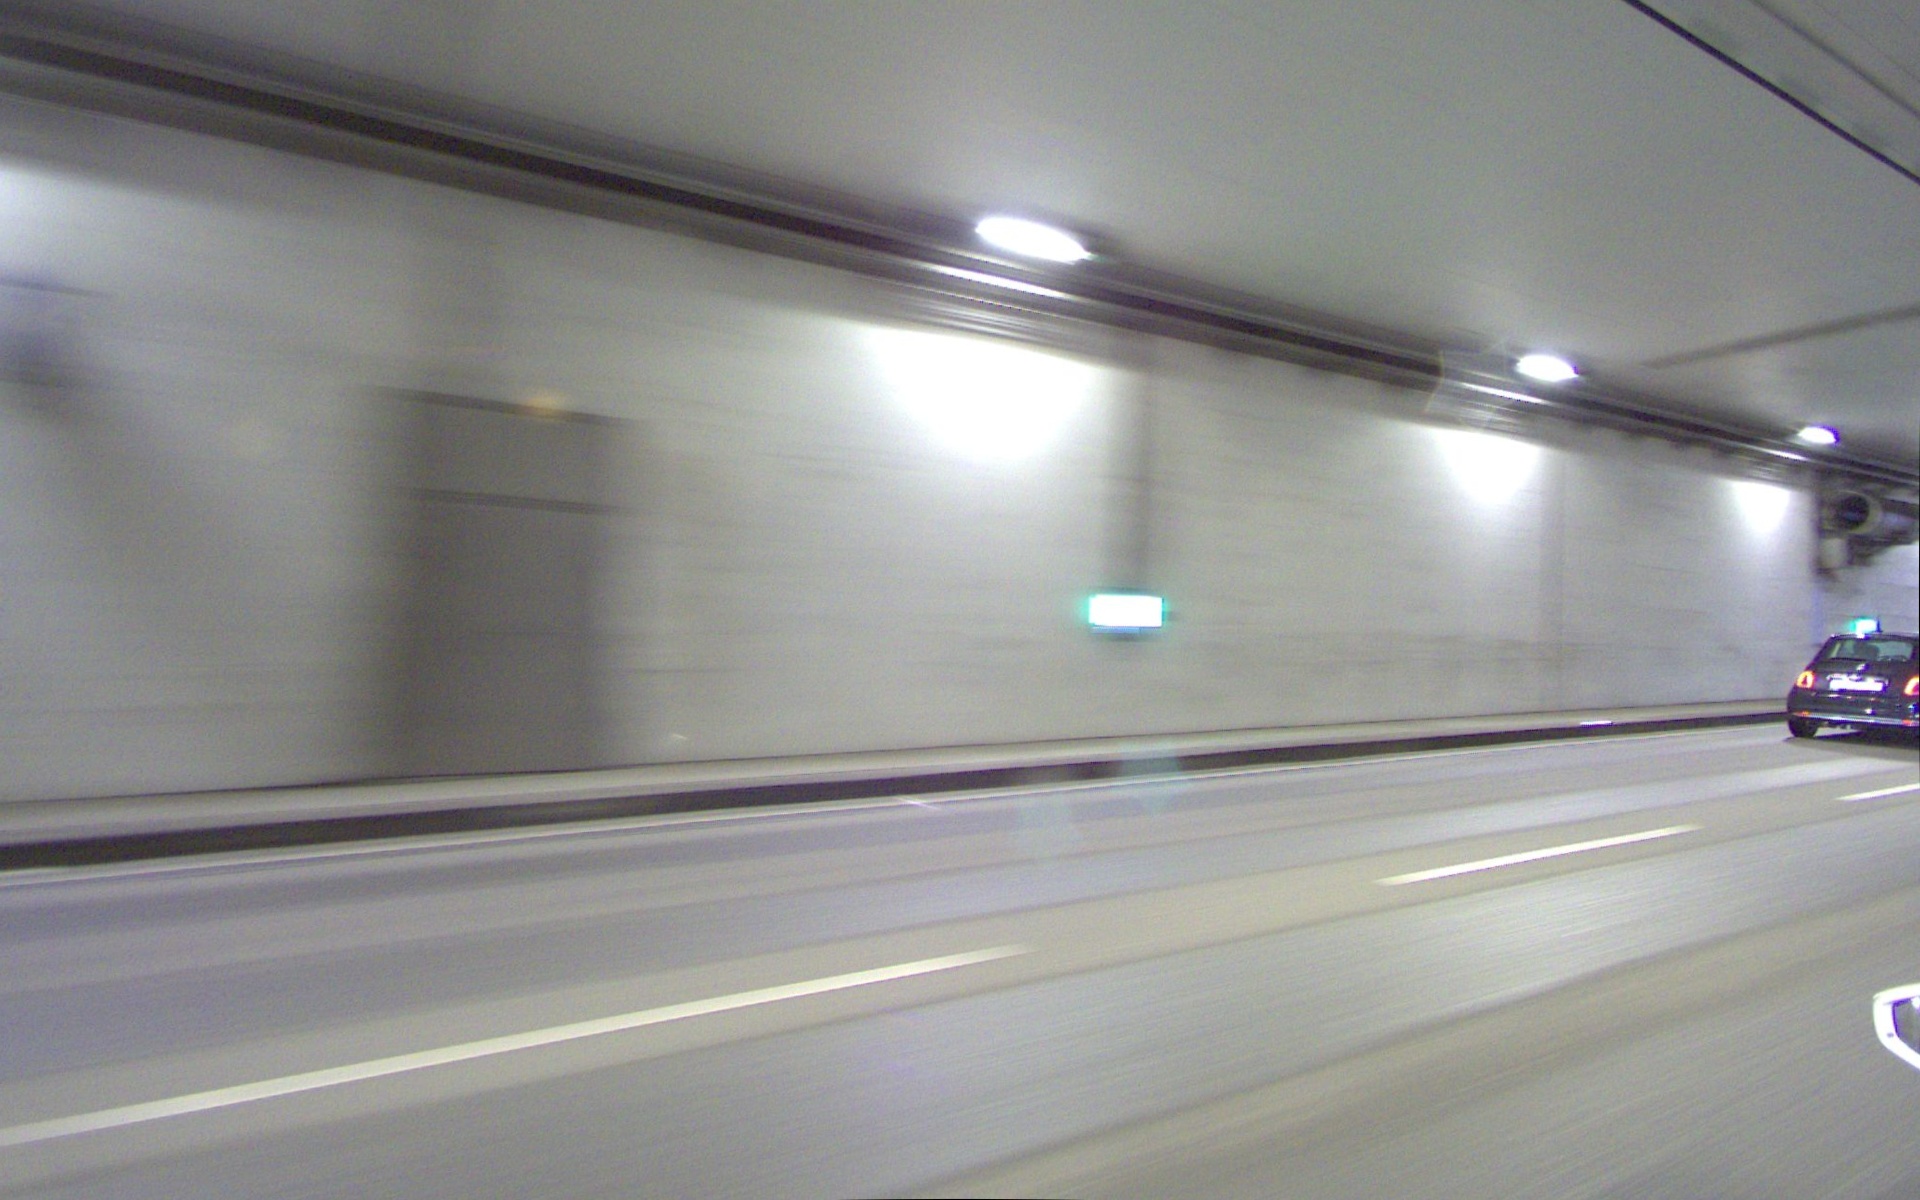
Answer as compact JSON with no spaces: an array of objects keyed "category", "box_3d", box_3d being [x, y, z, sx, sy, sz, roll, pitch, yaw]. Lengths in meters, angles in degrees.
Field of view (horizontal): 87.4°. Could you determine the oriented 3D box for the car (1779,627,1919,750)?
[{"category":"car","box_3d":[12.943,1.136,13.782,3.533,1.473,1.603,1,-1,-32]}]
